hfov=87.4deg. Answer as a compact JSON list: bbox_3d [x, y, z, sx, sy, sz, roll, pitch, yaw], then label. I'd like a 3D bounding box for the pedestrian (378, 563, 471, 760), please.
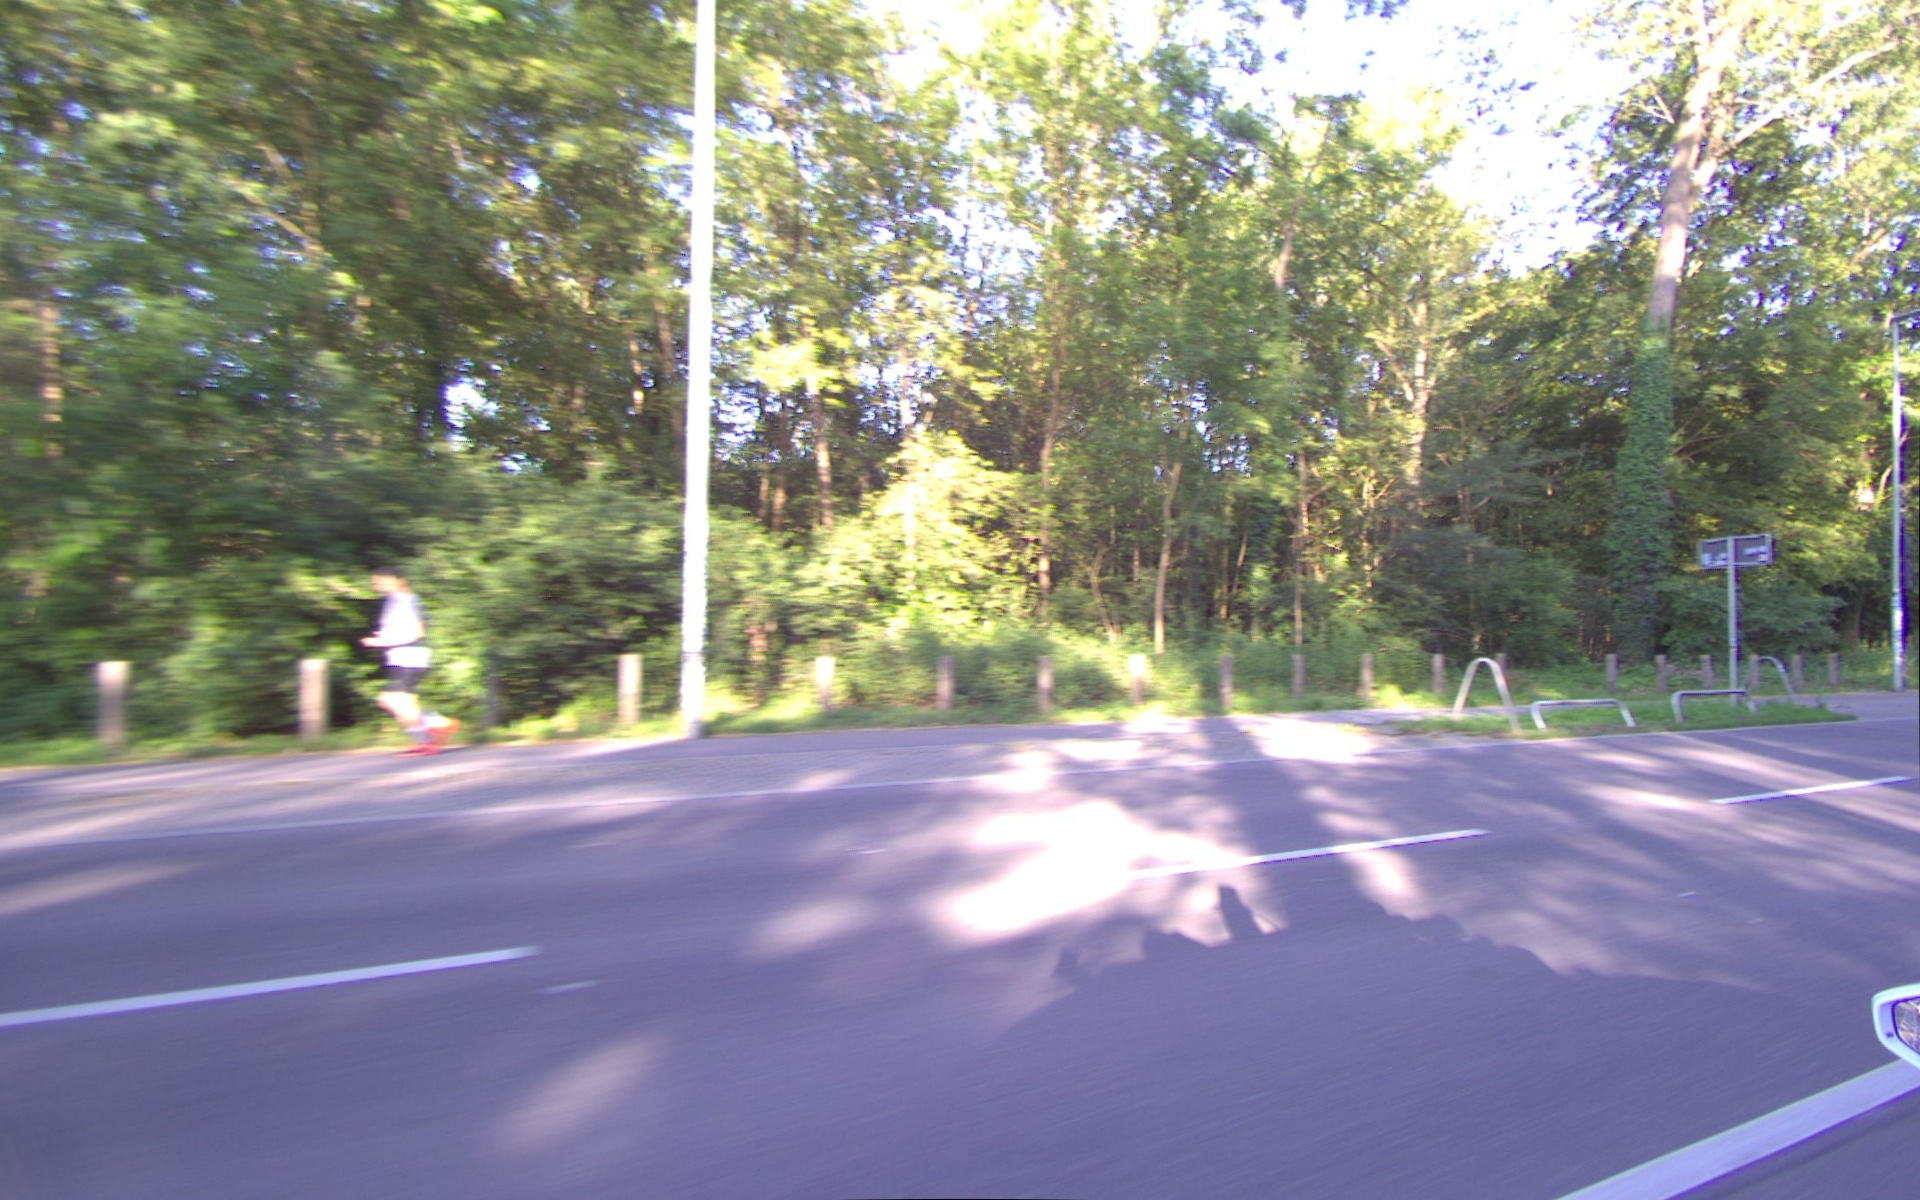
[{"bbox_3d":[-5.154,0.581,9.656,0.730,1.791,0.767,2,-2,-31],"label":"pedestrian"}]
